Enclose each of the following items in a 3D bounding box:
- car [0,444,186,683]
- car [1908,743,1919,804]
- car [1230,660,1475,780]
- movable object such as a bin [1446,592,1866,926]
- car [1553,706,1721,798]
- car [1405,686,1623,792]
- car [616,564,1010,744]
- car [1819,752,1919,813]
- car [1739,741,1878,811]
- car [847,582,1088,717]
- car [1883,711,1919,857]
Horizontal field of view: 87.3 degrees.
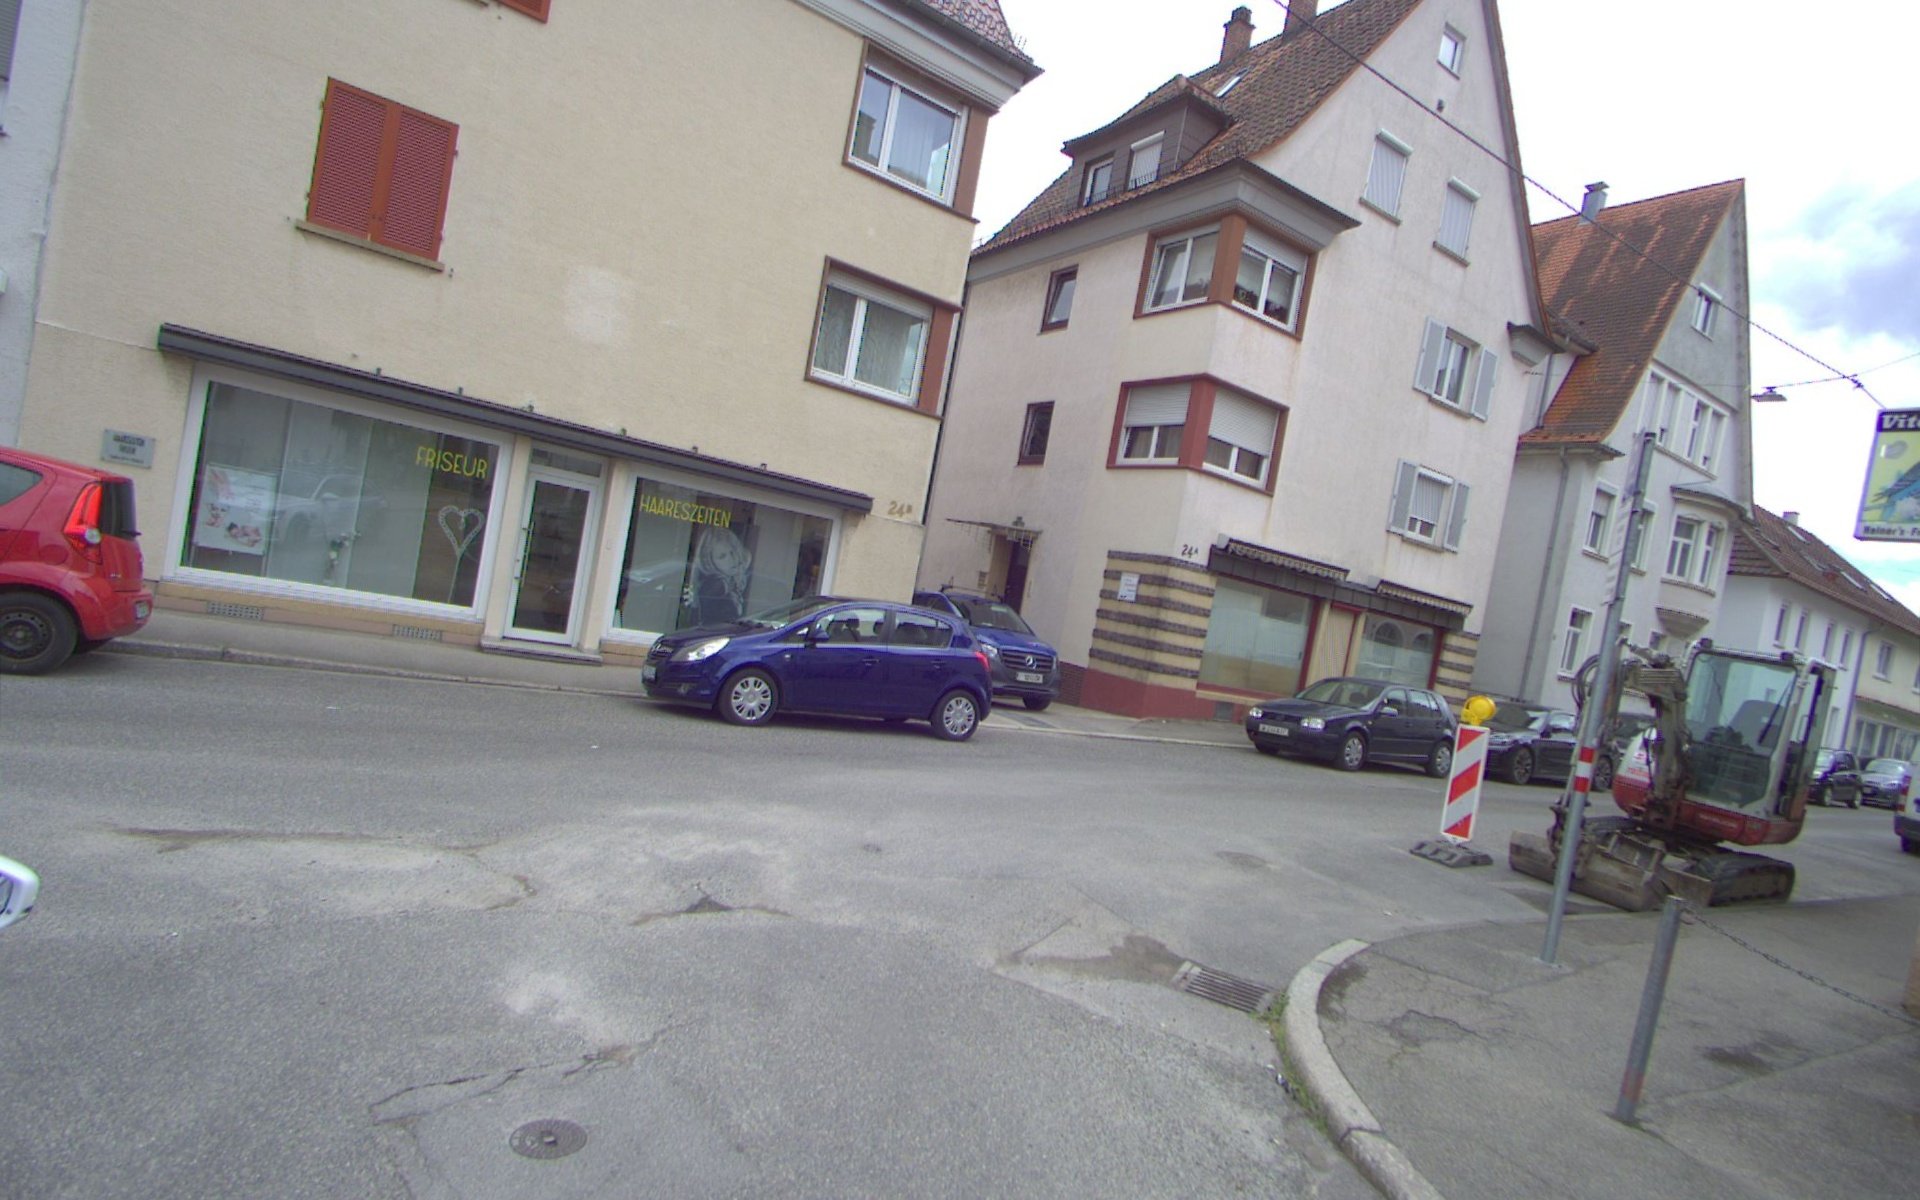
[{"bbox_3d":[-7.942,-0.473,7.049,3.658,1.575,1.683,9,-1,-31],"label":"car"},{"bbox_3d":[34.389,6.165,34.420,4.052,2.027,1.684,9,-1,-31],"label":"car"},{"bbox_3d":[6.454,1.980,16.402,3.966,1.420,1.681,9,-1,-35],"label":"car"},{"bbox_3d":[7.042,1.568,9.995,4.633,2.532,1.556,9,3,-35],"label":"movable object such as a bin"},{"bbox_3d":[14.737,3.327,21.825,4.071,1.537,1.680,9,-2,-37],"label":"car"},{"bbox_3d":[10.443,2.625,18.893,4.063,1.466,1.684,9,-2,-31],"label":"car"},{"bbox_3d":[-1.575,0.631,11.224,3.882,1.466,1.683,9,-2,-32],"label":"car"},{"bbox_3d":[27.800,5.539,30.375,3.676,1.406,1.684,9,-2,-31],"label":"car"},{"bbox_3d":[22.963,4.754,27.198,3.676,1.406,1.684,9,-2,-31],"label":"car"},{"bbox_3d":[-0.053,0.792,18.195,1.933,1.887,4.864,8,-2,-31],"label":"car"},{"bbox_3d":[19.474,3.673,18.414,6.560,2.418,1.980,9,3,-34],"label":"car"}]
